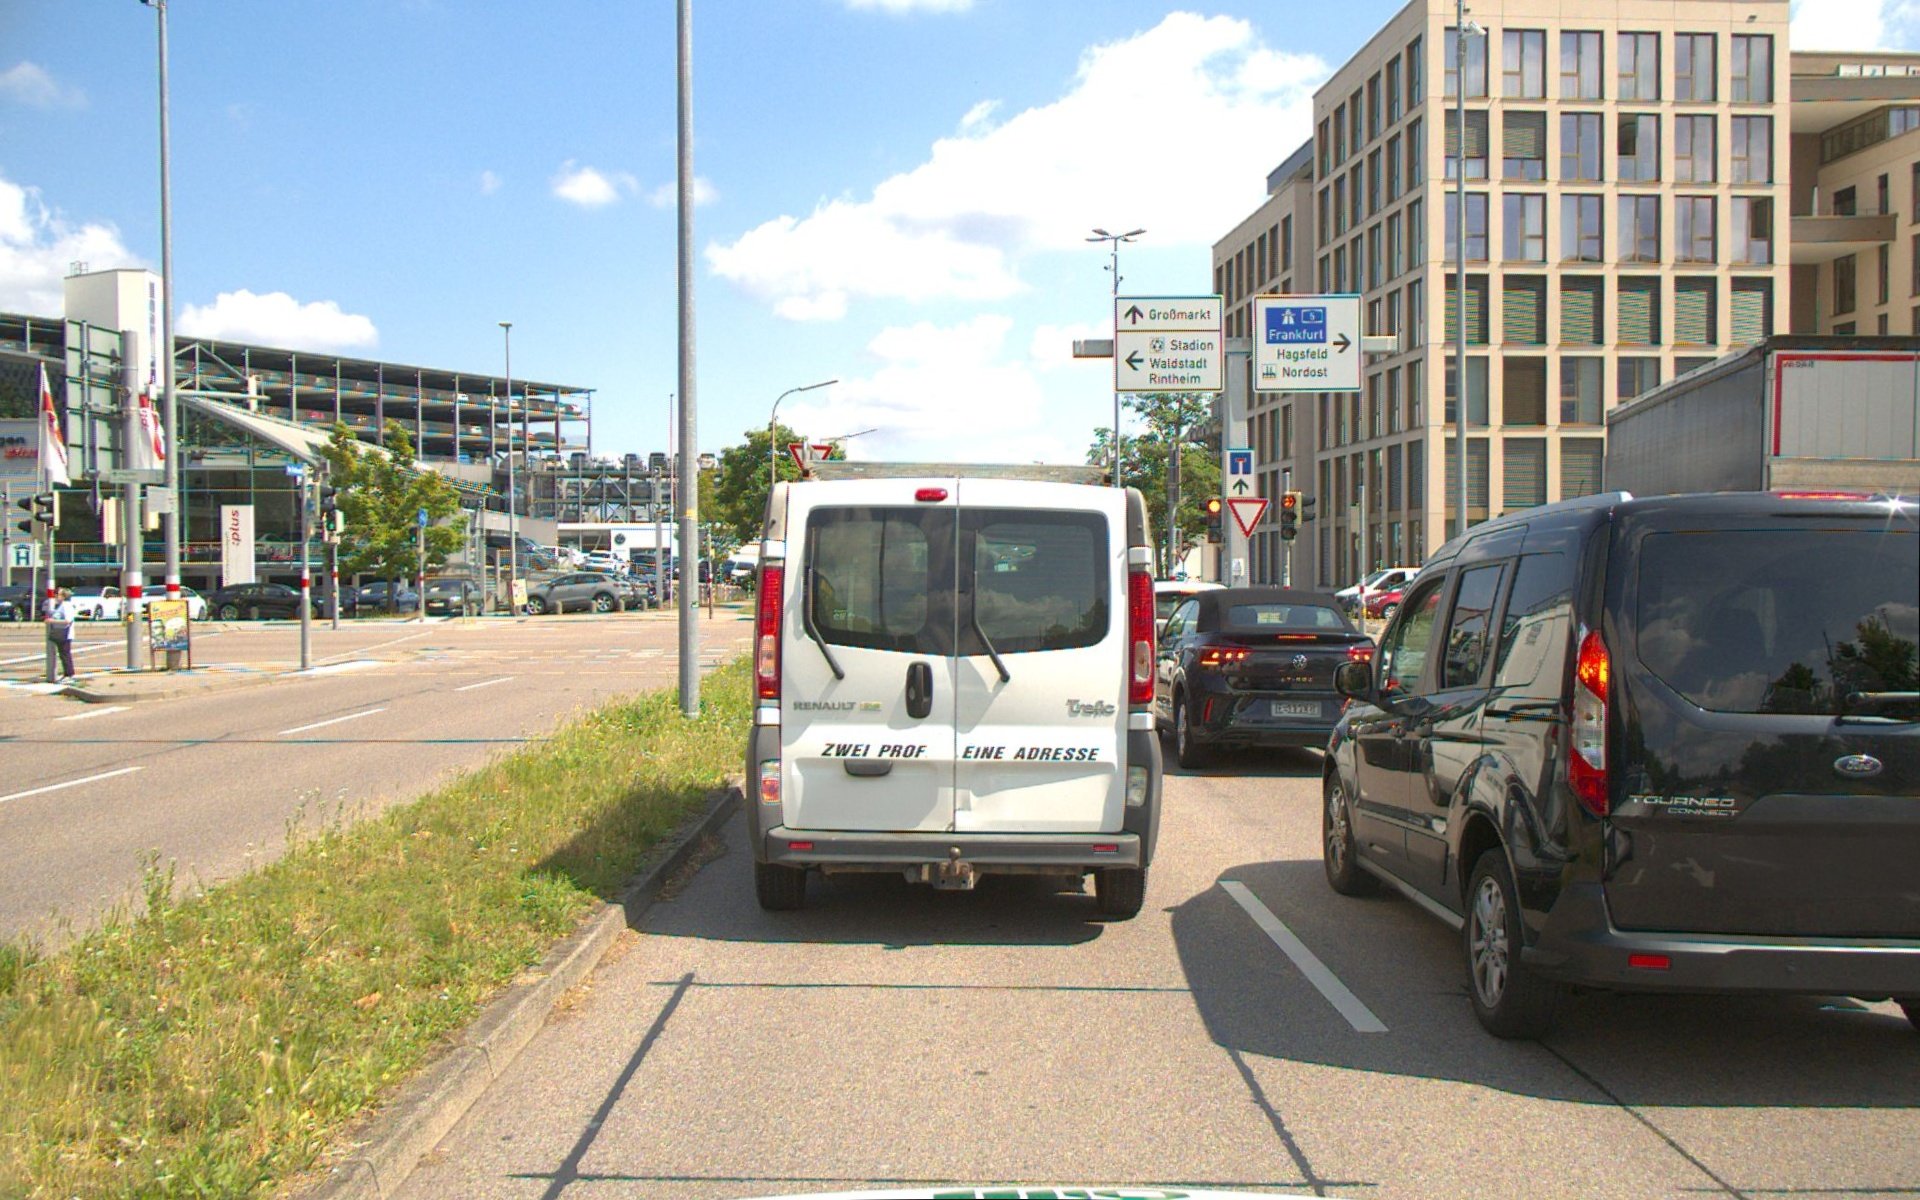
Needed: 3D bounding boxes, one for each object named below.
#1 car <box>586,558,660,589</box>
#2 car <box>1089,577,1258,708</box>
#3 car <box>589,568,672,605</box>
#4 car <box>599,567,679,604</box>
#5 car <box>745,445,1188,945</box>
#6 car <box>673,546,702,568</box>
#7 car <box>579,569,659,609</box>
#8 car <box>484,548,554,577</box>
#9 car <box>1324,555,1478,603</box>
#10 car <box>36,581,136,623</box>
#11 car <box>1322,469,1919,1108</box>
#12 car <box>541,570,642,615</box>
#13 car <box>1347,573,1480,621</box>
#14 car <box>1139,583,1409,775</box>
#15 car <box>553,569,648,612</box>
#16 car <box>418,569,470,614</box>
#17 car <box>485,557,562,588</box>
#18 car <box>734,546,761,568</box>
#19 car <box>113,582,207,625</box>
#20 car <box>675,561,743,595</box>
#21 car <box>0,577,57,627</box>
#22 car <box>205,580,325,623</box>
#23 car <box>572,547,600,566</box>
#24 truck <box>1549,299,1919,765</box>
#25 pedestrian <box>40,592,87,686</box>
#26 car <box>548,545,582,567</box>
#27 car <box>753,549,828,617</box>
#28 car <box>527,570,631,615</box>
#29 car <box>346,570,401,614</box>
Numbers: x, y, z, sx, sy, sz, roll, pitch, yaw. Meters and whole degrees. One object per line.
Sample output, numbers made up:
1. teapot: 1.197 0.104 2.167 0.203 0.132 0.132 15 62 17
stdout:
1. car: -19.812 -1.571 97.412 4.086 1.742 1.686 1 1 -7
2. car: 2.753 0.508 22.101 1.704 1.570 4.000 1 0 0
3. car: -16.436 -0.695 82.725 3.836 1.742 1.687 -2 1 -5
4. car: -16.566 -0.763 85.512 3.836 1.742 1.687 -2 1 -5
5. car: 0.062 0.380 8.881 1.817 2.053 4.001 1 0 1
6. car: -19.557 -3.094 118.791 1.810 1.556 3.996 0 1 -5
7. car: -15.894 -0.539 77.249 3.439 1.742 1.602 -2 1 -5
8. car: -28.117 -2.378 105.502 4.085 1.743 1.686 0 0 -7
9. car: 15.471 -0.754 58.173 4.884 1.635 1.999 0 1 -4
10. car: -31.859 0.054 60.414 1.870 1.400 3.749 0 1 -5
11. car: 2.767 0.529 6.800 1.782 1.840 4.001 1 1 2
12. car: -15.369 -0.342 69.143 3.836 1.742 1.687 -2 1 -5
13. car: 14.770 -0.101 54.012 3.815 1.516 1.794 0 1 -2
14. car: 2.742 0.628 15.287 1.704 1.521 4.000 1 0 0
15. car: -15.947 -0.439 73.509 3.836 1.742 1.687 -2 1 -5
16. car: -19.248 -0.327 61.677 1.789 1.579 3.980 0 0 -18
17. car: -25.235 -1.607 95.682 4.085 1.743 1.686 0 0 -7
18. car: -15.286 -3.078 119.207 1.810 1.556 3.996 0 1 -5
19. car: -29.310 0.112 60.695 1.741 1.475 4.026 0 1 -5
20. car: -14.854 -1.303 98.186 3.911 1.959 1.824 0 0 -8
21. car: -34.428 0.042 59.904 1.722 1.689 3.613 0 1 -5
22. car: -25.402 0.050 60.550 3.719 1.539 1.677 0 1 -6
23. car: -31.204 -3.634 138.081 1.810 1.556 3.996 0 1 -5
24. truck: 9.030 -0.611 18.602 3.063 4.009 8.866 1 0 10
25. pedestrian: -14.811 0.635 27.322 0.459 1.538 0.511 1 0 24
26. car: -28.475 -3.186 119.298 1.810 1.556 3.996 0 1 -5
27. car: -6.063 -0.660 59.696 1.930 2.295 4.982 -1 1 2
28. car: -15.340 -0.303 66.768 3.786 1.668 1.856 -2 1 -5
29. car: -21.803 -0.300 61.604 1.789 1.579 3.980 0 0 -18
